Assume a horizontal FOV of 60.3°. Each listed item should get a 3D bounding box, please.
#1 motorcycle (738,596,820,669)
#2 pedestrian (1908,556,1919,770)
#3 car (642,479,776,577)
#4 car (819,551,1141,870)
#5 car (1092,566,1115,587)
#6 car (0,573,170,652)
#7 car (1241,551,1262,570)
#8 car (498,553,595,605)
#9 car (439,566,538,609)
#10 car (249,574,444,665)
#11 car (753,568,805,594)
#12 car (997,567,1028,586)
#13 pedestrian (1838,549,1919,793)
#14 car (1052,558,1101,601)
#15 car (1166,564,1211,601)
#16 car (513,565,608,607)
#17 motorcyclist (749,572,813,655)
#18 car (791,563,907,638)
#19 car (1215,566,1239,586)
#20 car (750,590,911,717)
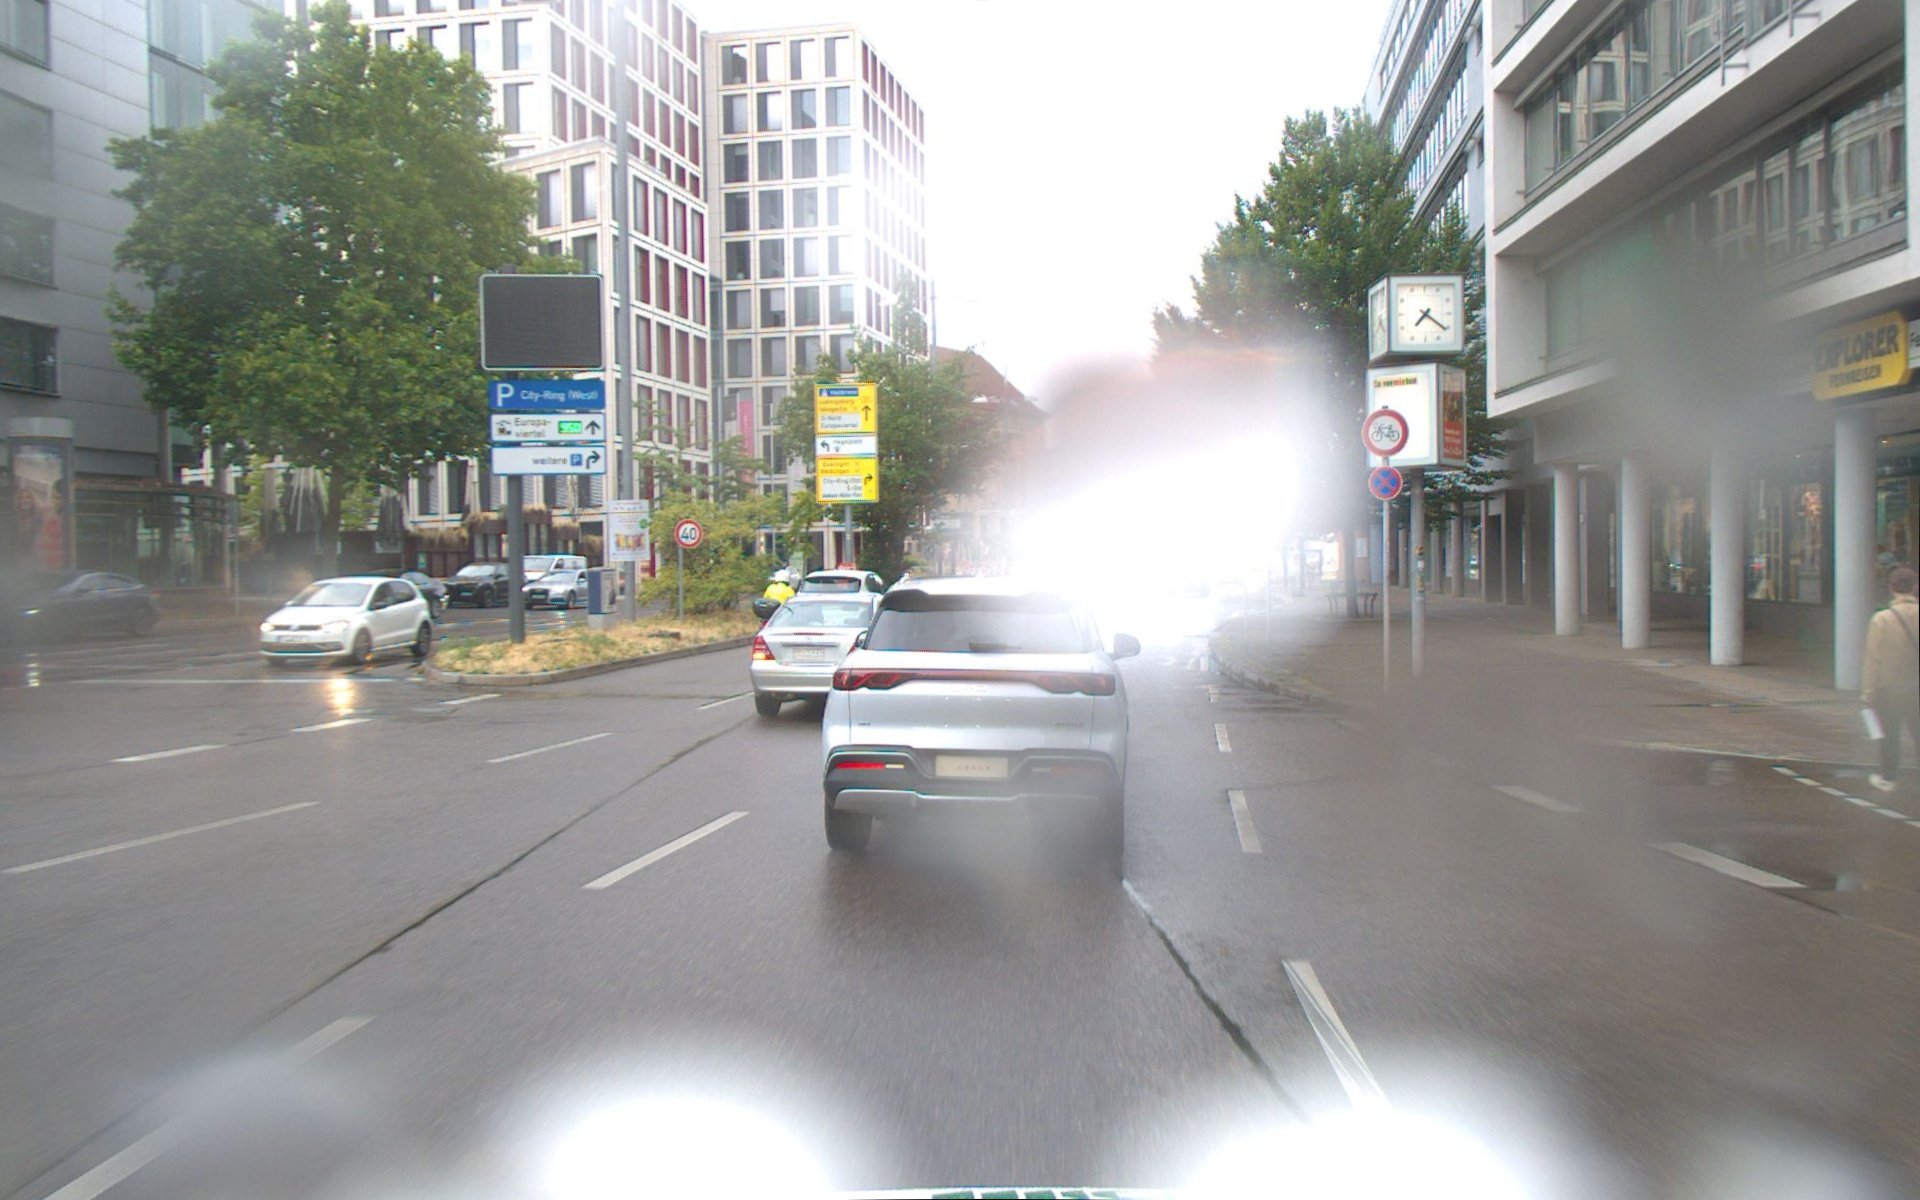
[{"bbox_3d":[-3.090,0.545,28.454,0.783,1.205,2.030,0,-1,13],"label":"motorcycle"},{"bbox_3d":[8.547,0.536,13.892,0.733,1.829,0.817,0,1,3],"label":"pedestrian"},{"bbox_3d":[-5.831,-1.631,38.992,1.951,2.049,4.852,0,-1,6],"label":"car"},{"bbox_3d":[0.283,0.611,10.928,1.738,1.708,4.002,0,-1,5],"label":"car"},{"bbox_3d":[11.790,-1.939,135.743,1.848,1.672,4.003,0,0,6],"label":"car"},{"bbox_3d":[-19.250,0.219,35.874,1.597,1.586,4.597,0,1,7],"label":"car"},{"bbox_3d":[34.081,-4.642,193.292,1.952,2.049,4.001,0,-1,3],"label":"car"},{"bbox_3d":[-16.854,-0.878,67.689,1.951,2.046,4.932,0,1,11],"label":"car"},{"bbox_3d":[-17.549,-0.484,61.702,1.951,1.514,4.004,0,1,11],"label":"car"},{"bbox_3d":[-10.657,0.289,29.024,1.597,1.462,3.911,0,1,7],"label":"car"},{"bbox_3d":[-10.678,-1.133,97.891,1.951,1.514,4.004,0,1,11],"label":"car"},{"bbox_3d":[4.271,-1.888,134.431,1.951,1.512,4.004,0,1,11],"label":"car"},{"bbox_3d":[7.374,0.526,12.819,0.733,1.829,0.817,0,1,3],"label":"pedestrian"},{"bbox_3d":[4.467,-0.756,62.989,1.537,1.512,4.003,0,-1,9],"label":"car"},{"bbox_3d":[10.004,-0.758,72.140,1.657,1.512,4.003,0,-1,12],"label":"car"},{"bbox_3d":[-14.786,-0.539,61.387,1.951,1.514,4.004,0,1,11],"label":"car"},{"bbox_3d":[-3.077,0.229,28.543,0.753,1.404,1.119,0,-1,13],"label":"motorcyclist"},{"bbox_3d":[-2.347,0.030,35.849,1.670,1.512,4.003,0,-1,9],"label":"car"},{"bbox_3d":[22.182,-1.992,137.235,1.657,1.512,4.003,0,-1,13],"label":"car"},{"bbox_3d":[-1.525,0.629,20.749,1.538,1.432,4.110,0,-1,2],"label":"car"}]
